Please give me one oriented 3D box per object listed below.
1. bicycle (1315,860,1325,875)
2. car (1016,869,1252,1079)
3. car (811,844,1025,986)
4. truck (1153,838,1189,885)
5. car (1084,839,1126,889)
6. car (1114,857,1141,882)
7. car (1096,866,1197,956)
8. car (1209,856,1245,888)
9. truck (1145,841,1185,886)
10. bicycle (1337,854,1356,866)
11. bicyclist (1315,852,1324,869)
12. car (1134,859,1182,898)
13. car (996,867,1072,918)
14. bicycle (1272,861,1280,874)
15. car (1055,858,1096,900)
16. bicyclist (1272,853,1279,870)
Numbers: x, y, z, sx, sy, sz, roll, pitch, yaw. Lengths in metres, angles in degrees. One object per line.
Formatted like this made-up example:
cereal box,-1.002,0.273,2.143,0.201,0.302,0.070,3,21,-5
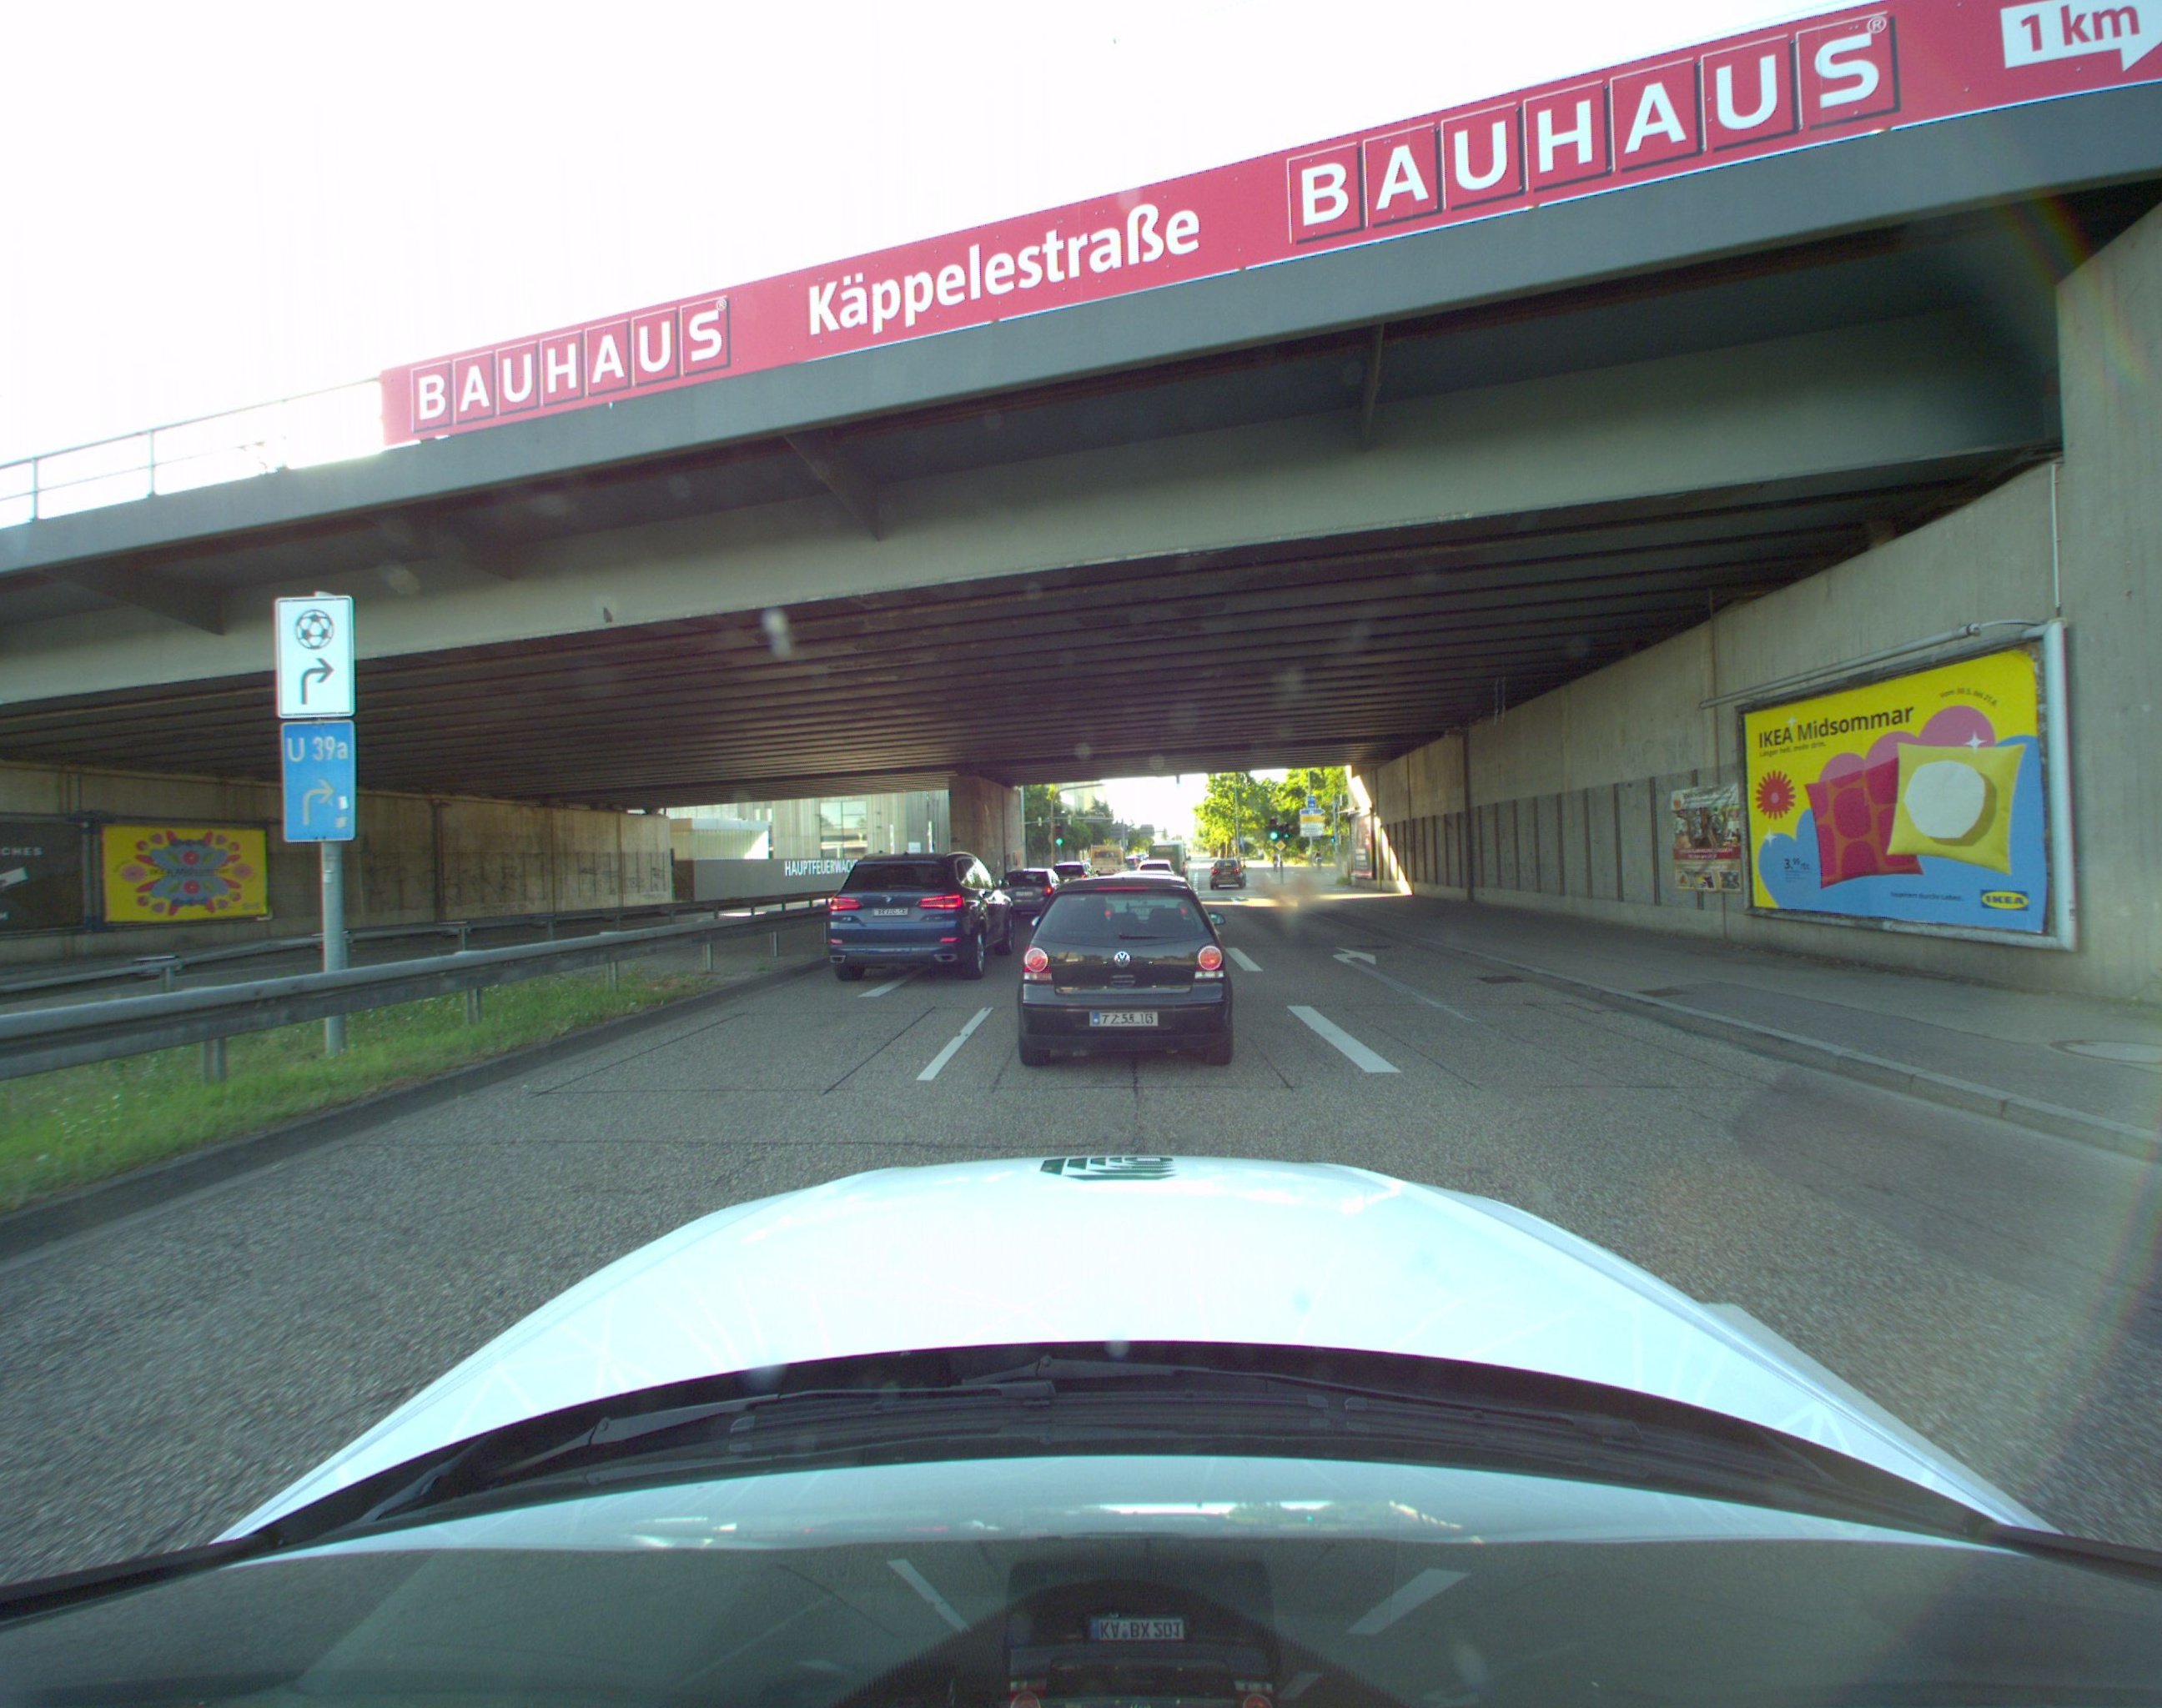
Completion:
bicycle,18.552,1.038,63.240,0.561,1.112,1.625,-1,-1,8
car,0.347,0.857,7.445,1.612,1.410,3.681,0,-1,-1
car,-2.173,0.793,12.298,1.984,1.734,4.538,-1,-1,4
truck,5.471,0.457,48.928,1.985,2.669,4.009,-1,-1,8
car,1.395,0.554,44.532,2.127,2.576,5.091,-1,-1,3
car,3.273,1.063,57.313,1.608,1.679,3.690,-1,-1,7
car,1.143,0.929,14.845,1.572,1.413,4.065,-1,-1,3
car,7.688,0.934,42.783,1.725,1.630,4.075,-1,-1,12
truck,4.576,0.524,43.997,1.985,2.315,4.009,-1,-1,8
bicycle,24.876,0.540,76.311,1.647,0.991,0.581,-3,2,24
bicyclist,18.544,0.537,63.282,0.540,1.316,0.837,-1,-1,8
car,3.358,1.007,34.921,1.786,1.559,4.009,-1,-1,8
car,-1.339,1.103,24.477,1.608,1.410,3.690,-1,-1,7
bicycle,14.800,1.034,61.759,0.435,0.914,1.029,-4,-1,8
car,-0.169,1.037,34.350,1.611,1.679,3.683,0,-1,1
bicyclist,14.780,0.582,61.776,0.425,1.233,0.461,-2,-1,8
